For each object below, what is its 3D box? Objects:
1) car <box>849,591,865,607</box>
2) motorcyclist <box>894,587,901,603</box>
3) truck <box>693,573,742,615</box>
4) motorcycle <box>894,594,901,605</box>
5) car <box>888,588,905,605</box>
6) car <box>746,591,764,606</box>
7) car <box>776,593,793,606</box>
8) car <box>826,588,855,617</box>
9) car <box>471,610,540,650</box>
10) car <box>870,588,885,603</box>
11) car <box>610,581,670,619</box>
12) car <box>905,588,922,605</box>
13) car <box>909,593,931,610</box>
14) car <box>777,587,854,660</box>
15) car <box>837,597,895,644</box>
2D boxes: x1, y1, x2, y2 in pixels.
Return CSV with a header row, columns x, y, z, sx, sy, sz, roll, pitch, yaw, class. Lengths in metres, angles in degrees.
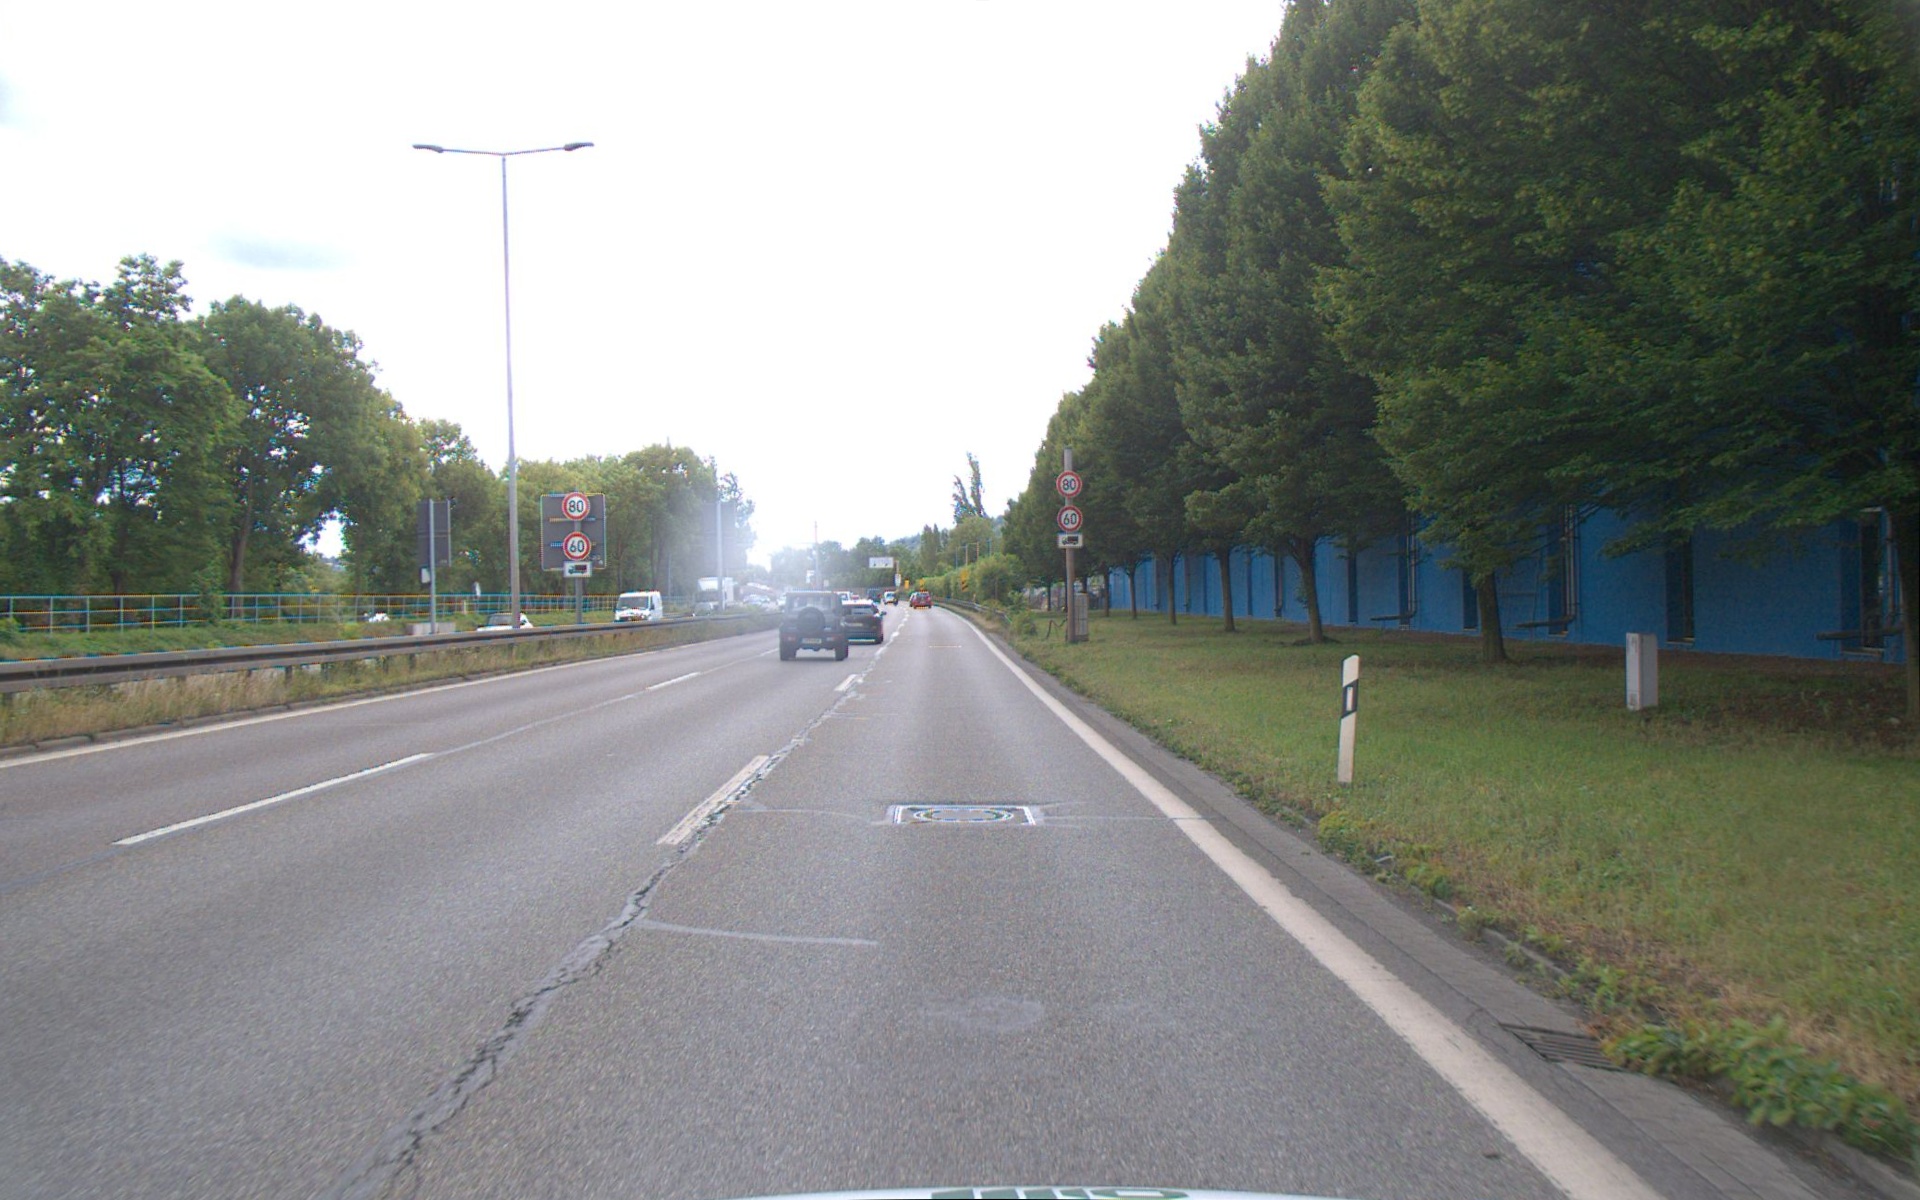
x,y,z,sx,sy,sz,roll,pitch,yaw,class
-11.910,-0.143,190.990,1.664,1.772,4.391,-3,0,-2,car
-7.261,-0.570,191.428,0.775,1.791,0.922,-1,1,-1,motorcyclist
-22.251,-0.582,152.269,2.829,3.641,9.588,-2,0,1,truck
-7.254,-0.058,191.497,0.775,1.240,2.329,-1,1,-1,motorcycle
-8.055,-0.460,210.502,1.973,1.968,4.898,-2,0,-2,car
-25.231,-0.195,203.911,1.691,1.633,4.041,-3,1,-1,car
-22.834,-0.071,215.533,1.663,1.633,4.537,-3,1,-1,car
-7.849,0.155,108.688,1.663,1.772,3.998,-2,0,-2,car
-17.867,1.169,65.182,1.625,1.423,3.988,-1,1,-1,car
-11.334,-0.661,226.692,1.974,1.968,4.896,-2,0,-4,car
-17.883,-0.024,92.750,2.180,1.982,5.475,-2,0,1,car
-4.962,-0.410,176.790,1.663,1.772,4.392,-2,0,-1,car
-3.779,0.126,156.435,1.935,1.448,4.898,-2,0,-2,car
-3.649,0.550,42.269,1.663,1.715,3.999,1,1,-1,car
-3.165,0.678,56.498,1.808,1.448,4.898,-2,0,-2,car
